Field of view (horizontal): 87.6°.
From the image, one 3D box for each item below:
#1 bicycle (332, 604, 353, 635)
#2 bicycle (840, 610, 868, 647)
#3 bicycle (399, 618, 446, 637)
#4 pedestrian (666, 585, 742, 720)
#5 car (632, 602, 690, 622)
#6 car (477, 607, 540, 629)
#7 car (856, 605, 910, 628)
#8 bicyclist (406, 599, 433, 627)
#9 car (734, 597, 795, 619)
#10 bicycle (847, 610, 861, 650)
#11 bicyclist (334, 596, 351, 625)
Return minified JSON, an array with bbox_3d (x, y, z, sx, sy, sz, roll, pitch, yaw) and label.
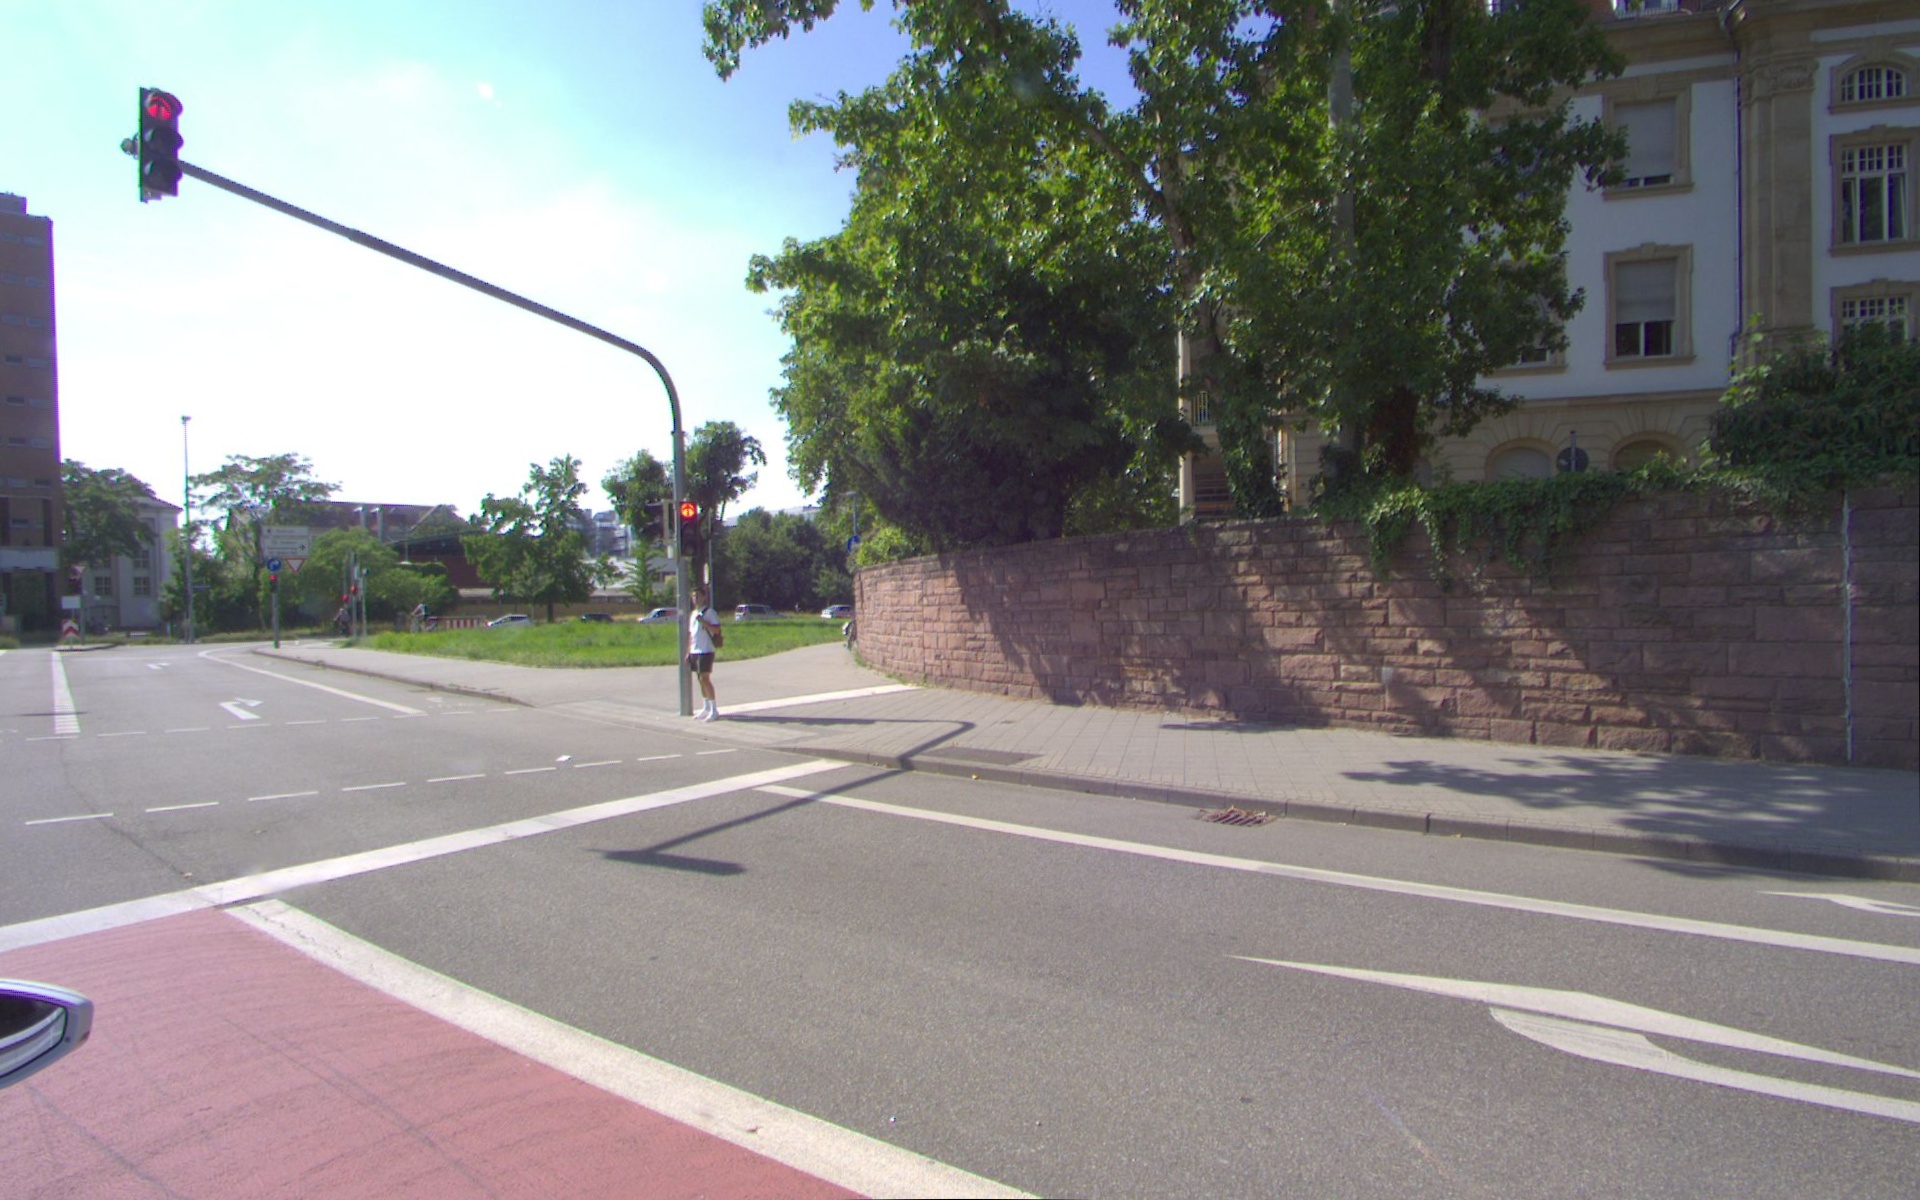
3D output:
[{"bbox_3d":[-36.437,1.148,59.086,0.673,1.789,1.794,-2,1,-42],"label":"bicycle"},{"bbox_3d":[-3.338,0.881,31.402,0.344,1.138,1.428,-2,1,-28],"label":"bicycle"},{"bbox_3d":[-28.185,1.426,52.479,2.127,0.928,0.674,-1,1,5],"label":"bicycle"},{"bbox_3d":[-3.736,0.741,14.620,0.784,1.900,0.650,0,3,29],"label":"pedestrian"},{"bbox_3d":[-25.214,1.010,84.592,4.279,1.590,1.892,-1,1,-43],"label":"car"},{"bbox_3d":[-34.586,1.379,76.790,3.958,1.483,1.982,-1,-1,-43],"label":"car"},{"bbox_3d":[-6.047,1.328,78.639,3.963,1.525,1.737,7,-6,-42],"label":"car"},{"bbox_3d":[-28.294,0.679,52.433,1.120,1.489,0.496,0,-1,5],"label":"bicyclist"},{"bbox_3d":[-14.087,0.562,72.286,3.958,1.528,1.736,-2,1,-42],"label":"car"},{"bbox_3d":[-3.135,0.879,29.710,0.342,1.138,1.434,-1,1,-8],"label":"bicycle"},{"bbox_3d":[-36.411,0.640,59.036,0.673,1.677,0.910,-2,2,-42],"label":"bicyclist"}]
